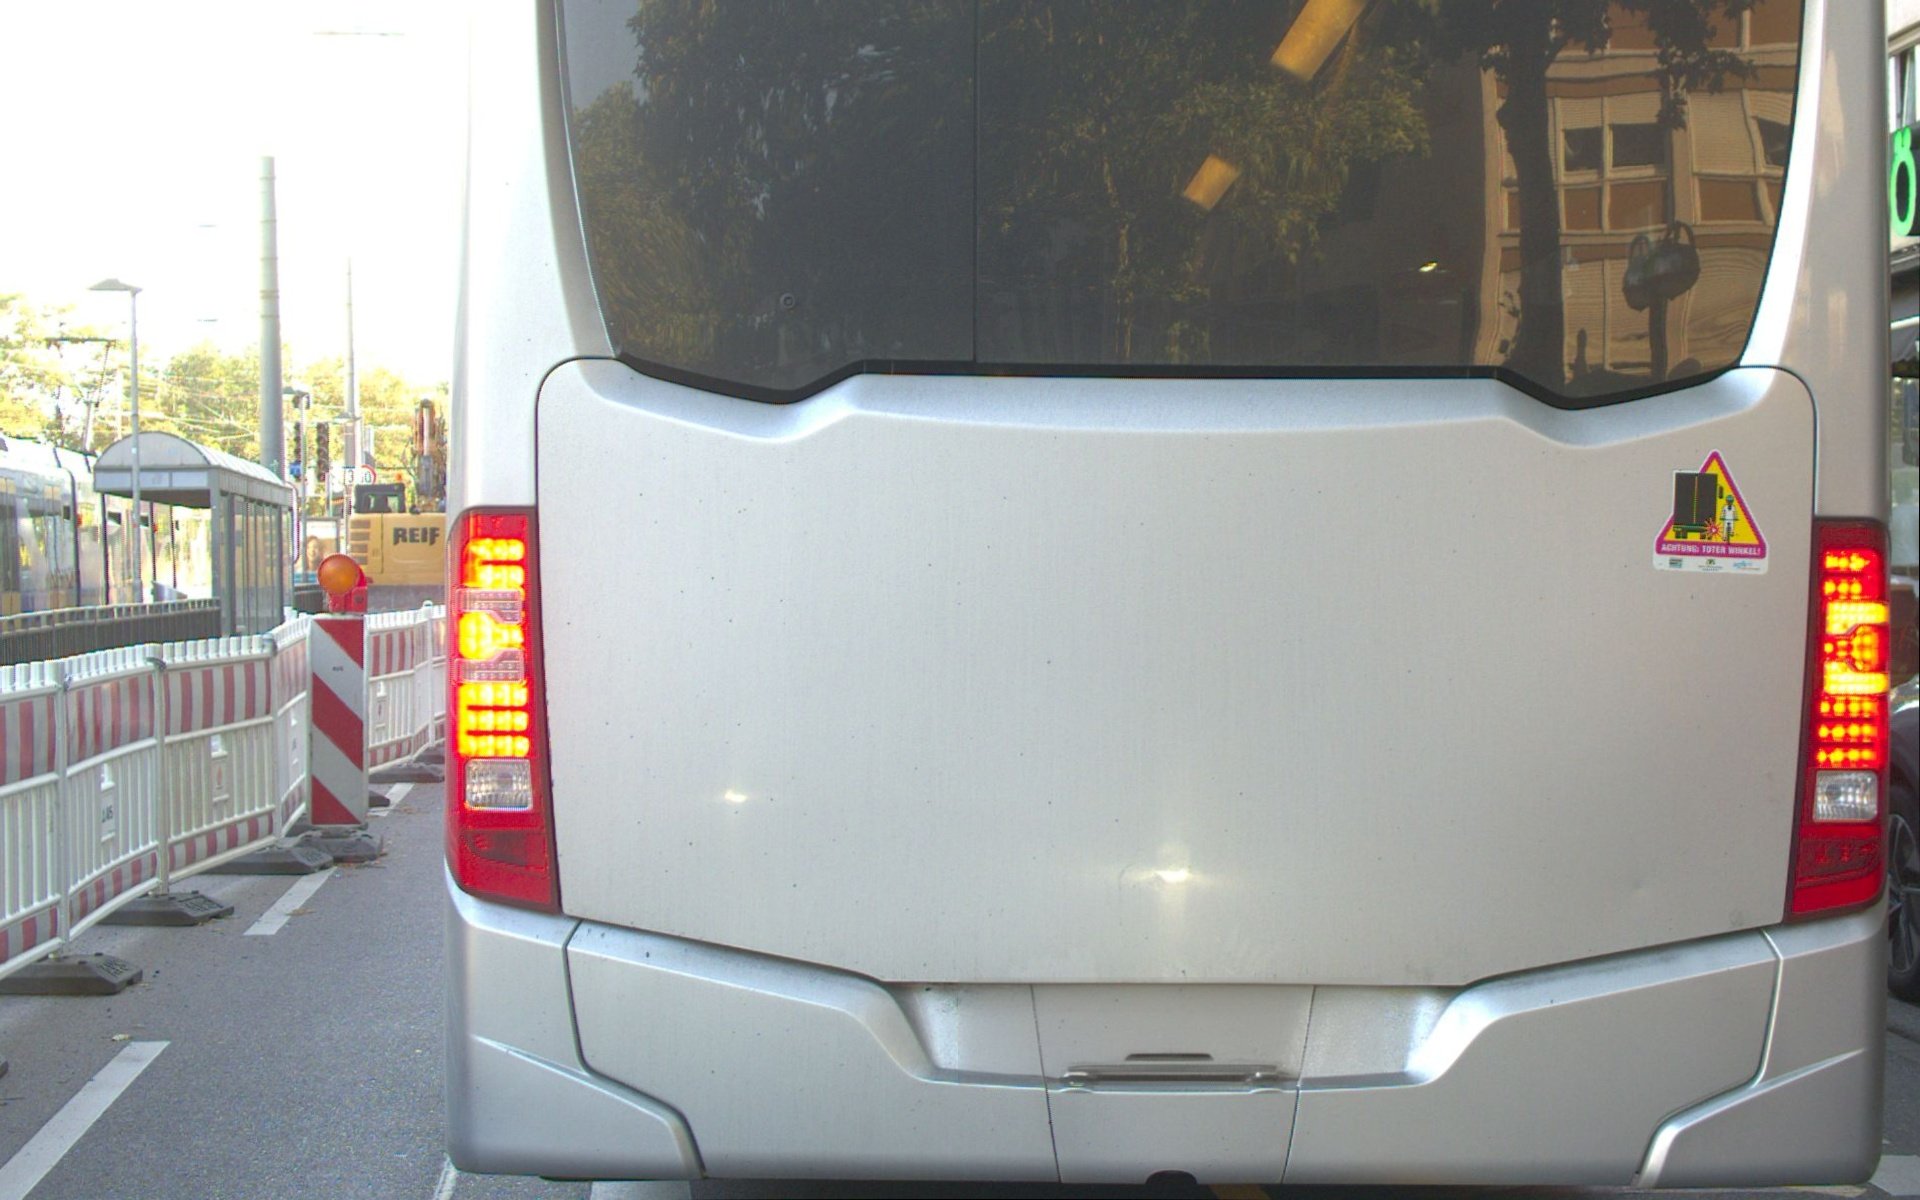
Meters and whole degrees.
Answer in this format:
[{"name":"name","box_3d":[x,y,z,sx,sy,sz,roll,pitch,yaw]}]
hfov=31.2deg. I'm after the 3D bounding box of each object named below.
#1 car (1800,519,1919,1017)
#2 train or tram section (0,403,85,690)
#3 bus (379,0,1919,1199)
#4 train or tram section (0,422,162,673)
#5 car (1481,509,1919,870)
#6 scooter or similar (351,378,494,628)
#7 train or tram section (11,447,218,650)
[{"name":"car","box_3d":[4.128,0.520,9.816,1.993,1.576,4.369,-3,1,-5]},{"name":"train or tram section","box_3d":[-13.199,-0.677,42.871,2.686,3.521,11.774,1,1,-6]},{"name":"bus","box_3d":[0.344,-0.180,9.560,2.611,3.115,7.993,1,1,-1]},{"name":"train or tram section","box_3d":[-14.574,-0.818,54.480,2.686,3.546,11.585,1,1,-8]},{"name":"car","box_3d":[4.268,0.357,18.000,1.993,1.576,4.369,-3,1,-5]},{"name":"scooter or similar","box_3d":[-10.025,-1.773,64.477,2.468,4.455,5.974,-1,1,-8]},{"name":"train or tram section","box_3d":[-16.040,-0.955,65.953,2.686,3.521,11.585,1,1,-8]}]
